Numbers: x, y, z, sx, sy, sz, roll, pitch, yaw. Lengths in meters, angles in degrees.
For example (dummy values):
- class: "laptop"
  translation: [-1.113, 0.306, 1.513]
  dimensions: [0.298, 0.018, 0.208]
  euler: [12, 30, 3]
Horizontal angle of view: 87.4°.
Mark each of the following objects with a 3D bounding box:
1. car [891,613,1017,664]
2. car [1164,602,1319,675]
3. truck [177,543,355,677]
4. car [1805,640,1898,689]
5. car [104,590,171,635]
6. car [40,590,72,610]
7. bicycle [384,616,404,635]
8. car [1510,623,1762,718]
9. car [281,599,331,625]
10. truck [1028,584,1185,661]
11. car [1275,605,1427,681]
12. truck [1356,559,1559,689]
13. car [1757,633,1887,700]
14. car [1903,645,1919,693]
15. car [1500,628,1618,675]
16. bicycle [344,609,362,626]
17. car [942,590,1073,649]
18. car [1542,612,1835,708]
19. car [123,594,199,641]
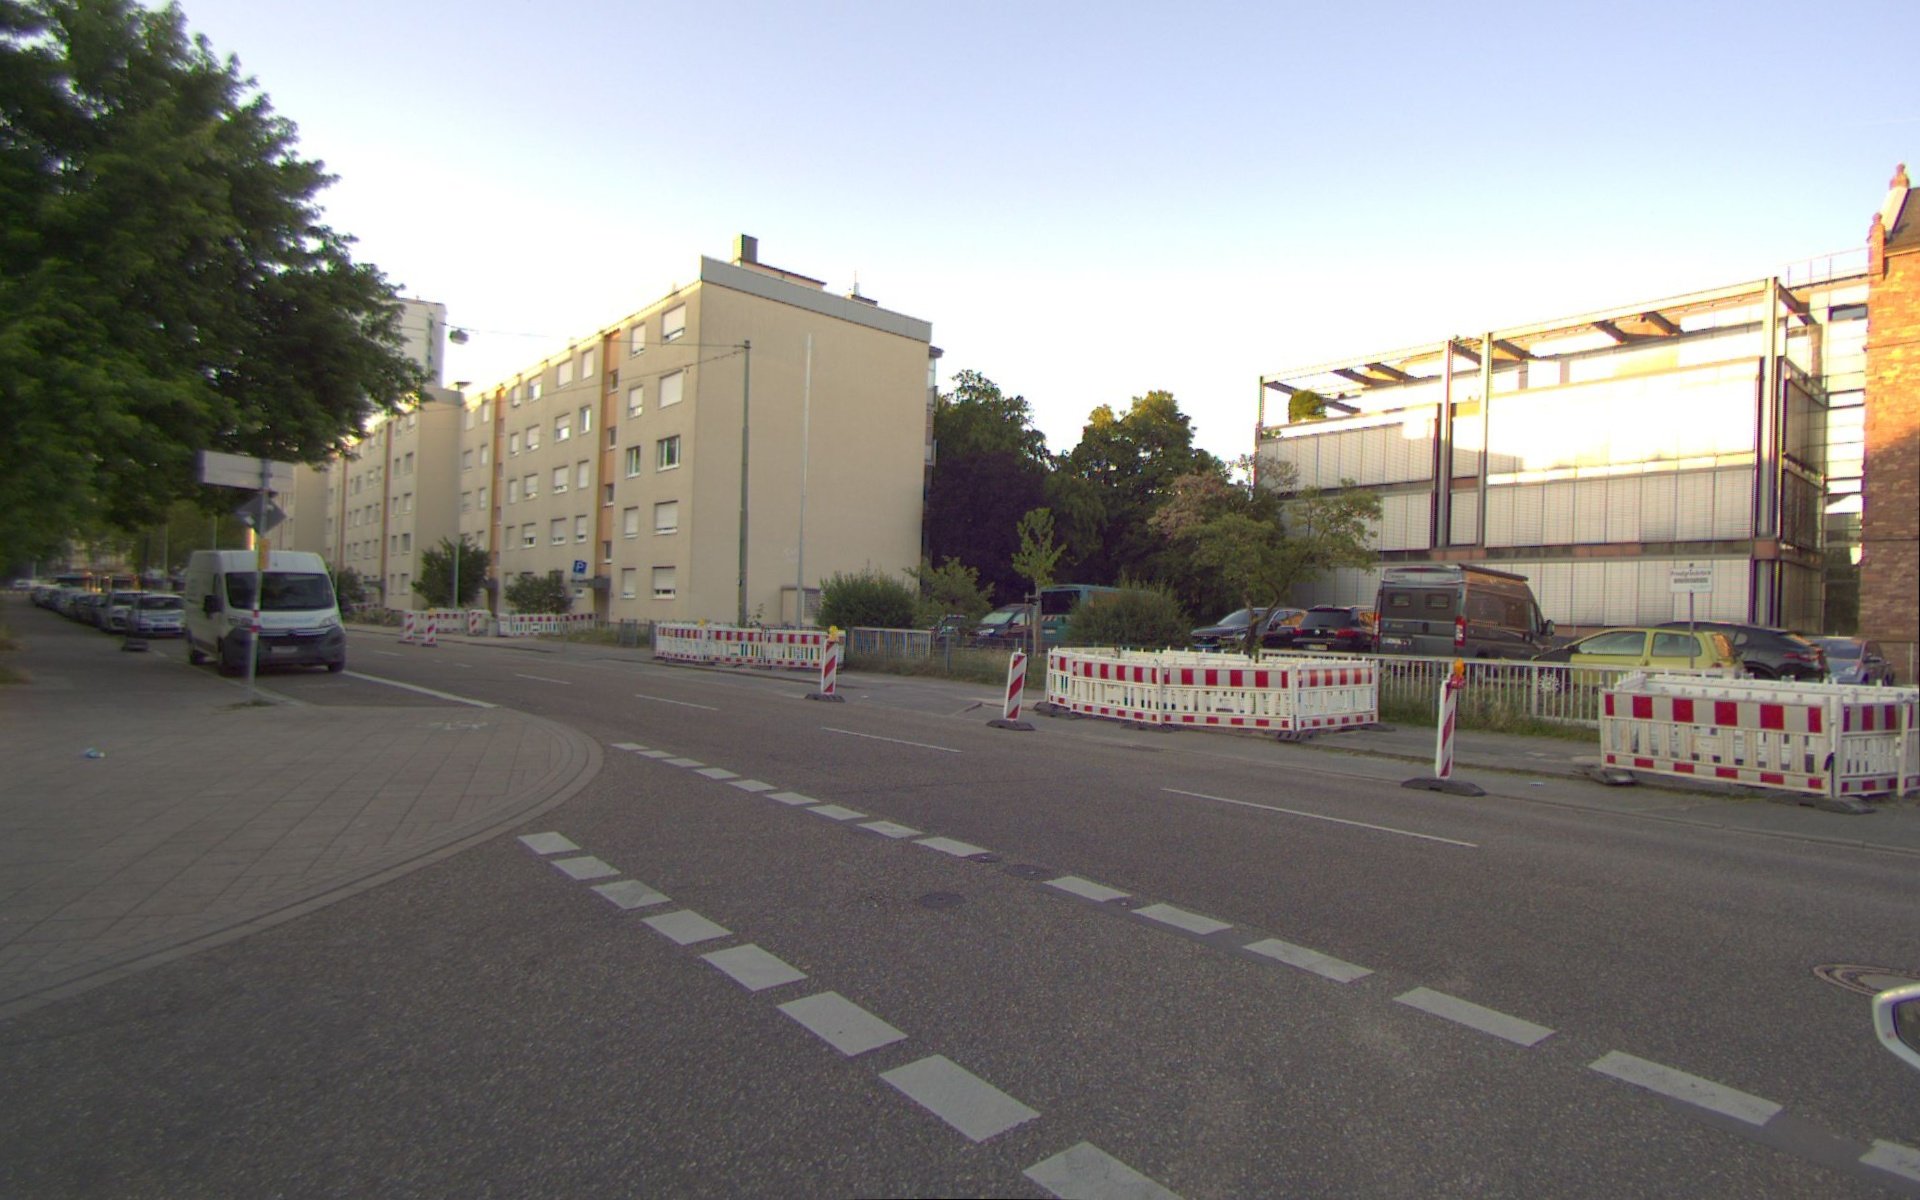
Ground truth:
- class: "car"
  translation: [-0.169, 1.385, 35.970]
  dimensions: [4.193, 1.669, 1.976]
  euler: [3, -2, -41]
- class: "car"
  translation: [7.512, 1.015, 26.585]
  dimensions: [4.270, 1.750, 1.975]
  euler: [3, -1, -42]
- class: "truck"
  translation: [-14.741, 0.166, 21.156]
  dimensions: [2.094, 2.455, 5.966]
  euler: [1, 0, -44]
- class: "car"
  translation: [31.735, 2.261, 35.714]
  dimensions: [4.145, 1.558, 1.881]
  euler: [3, -1, -40]
- class: "car"
  translation: [-31.865, 0.448, 38.887]
  dimensions: [1.750, 1.625, 3.876]
  euler: [0, 1, -44]
- class: "car"
  translation: [-70.259, -0.003, 78.063]
  dimensions: [1.750, 1.462, 3.409]
  euler: [0, 1, -44]
- class: "bicycle"
  translation: [-35.545, 1.581, 63.038]
  dimensions: [0.614, 1.121, 2.207]
  euler: [3, -1, -42]
- class: "car"
  translation: [12.575, 1.248, 18.854]
  dimensions: [1.623, 1.523, 3.603]
  euler: [3, -1, -38]
- class: "car"
  translation: [-39.598, 0.710, 60.789]
  dimensions: [1.774, 1.408, 3.948]
  euler: [3, -2, -44]
- class: "truck"
  translation: [4.419, 0.694, 30.028]
  dimensions: [4.471, 2.118, 2.090]
  euler: [3, -1, -37]
- class: "car"
  translation: [9.796, 1.059, 25.043]
  dimensions: [3.971, 1.714, 1.975]
  euler: [3, -1, -42]
- class: "truck"
  translation: [11.422, 0.575, 22.906]
  dimensions: [4.932, 2.651, 2.315]
  euler: [3, -1, -40]
- class: "car"
  translation: [23.312, 1.760, 27.122]
  dimensions: [4.329, 1.597, 1.977]
  euler: [3, -1, -40]
- class: "car"
  translation: [33.438, 2.361, 33.887]
  dimensions: [4.145, 1.558, 1.881]
  euler: [3, -1, -40]
- class: "car"
  translation: [19.087, 1.630, 31.952]
  dimensions: [4.329, 1.323, 1.923]
  euler: [3, -1, -40]
- class: "bicycle"
  translation: [-41.628, 1.187, 68.912]
  dimensions: [0.614, 1.121, 2.207]
  euler: [3, -1, -42]
- class: "car"
  translation: [1.658, 0.676, 34.051]
  dimensions: [4.193, 1.850, 1.976]
  euler: [3, -2, -41]
- class: "car"
  translation: [14.537, 1.126, 20.302]
  dimensions: [1.562, 1.659, 4.548]
  euler: [3, -1, -38]
- class: "car"
  translation: [-27.775, 0.557, 34.887]
  dimensions: [1.750, 1.503, 3.876]
  euler: [0, 1, -44]
